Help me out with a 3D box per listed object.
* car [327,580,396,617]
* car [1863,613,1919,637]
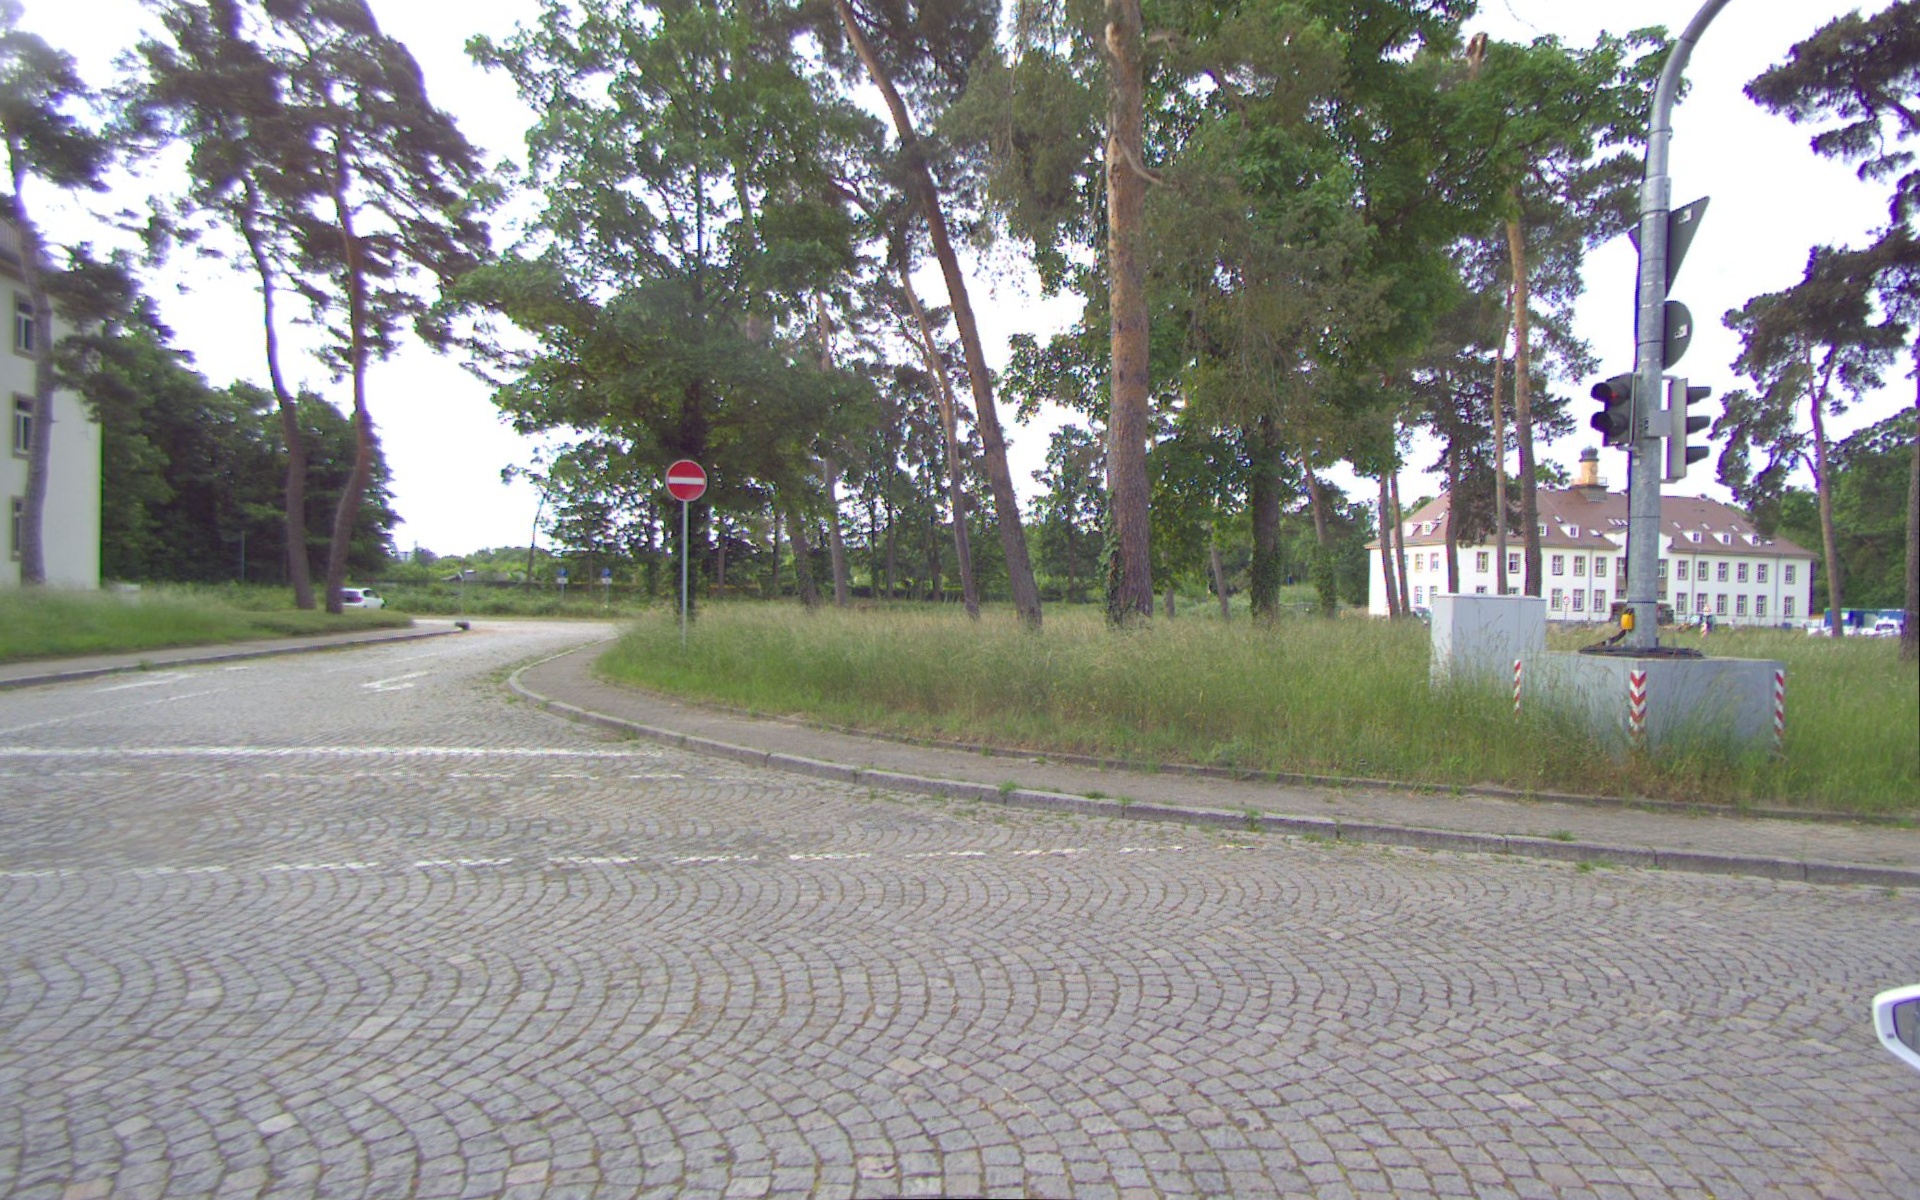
[{"bbox_3d":[-31.230,-0.101,52.524,1.691,1.831,3.993,1,0,-9],"label":"car"},{"bbox_3d":[83.738,2.251,89.568,5.136,2.040,1.996,2,0,-10],"label":"car"}]
